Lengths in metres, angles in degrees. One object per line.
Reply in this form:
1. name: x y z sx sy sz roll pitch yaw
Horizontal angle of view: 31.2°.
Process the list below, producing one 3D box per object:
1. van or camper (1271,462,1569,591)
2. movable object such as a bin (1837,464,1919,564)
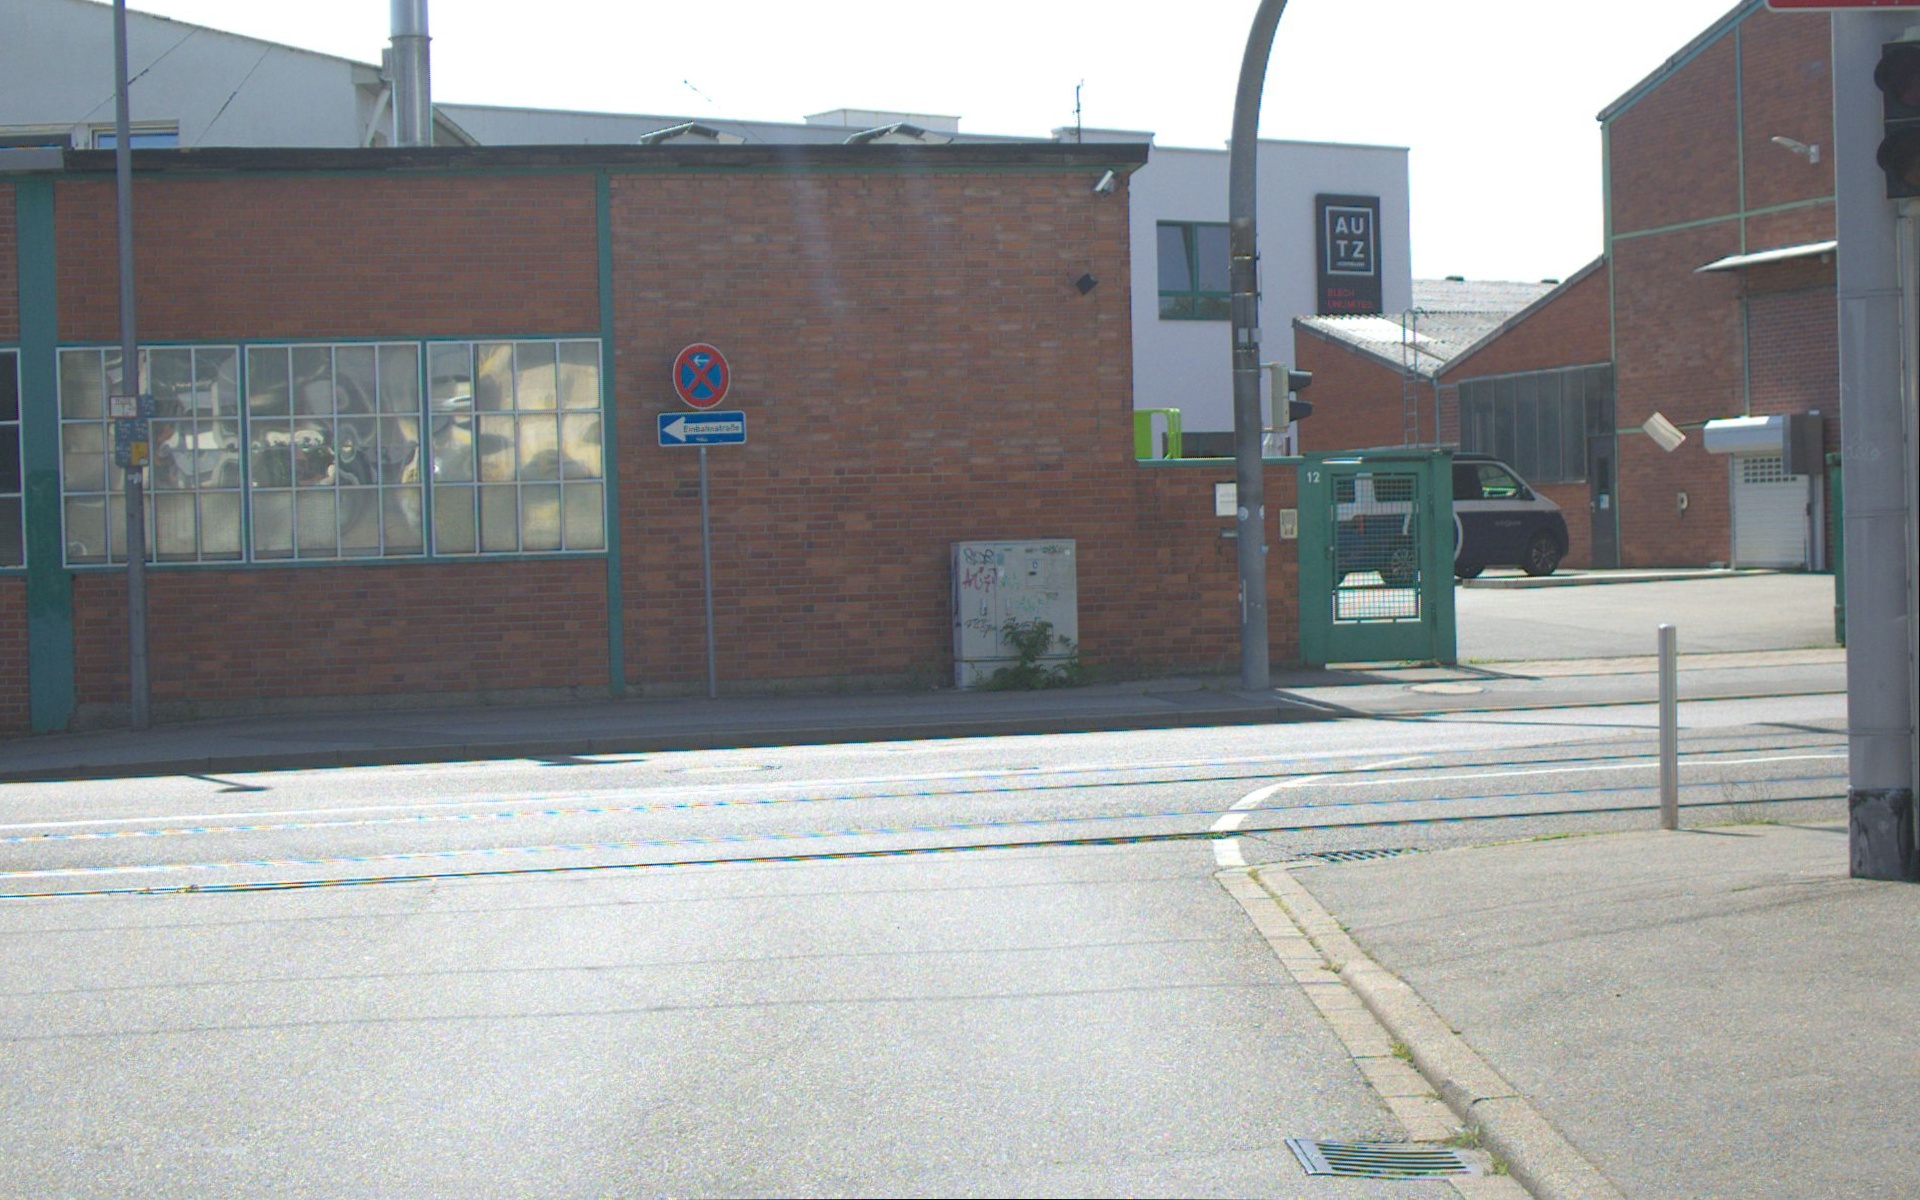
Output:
1. van or camper: 7.158 -1.113 53.326 4.408 1.894 2.000 0 1 -36
2. movable object such as a bin: 12.620 -1.164 46.475 0.974 1.309 1.152 -3 1 -17
